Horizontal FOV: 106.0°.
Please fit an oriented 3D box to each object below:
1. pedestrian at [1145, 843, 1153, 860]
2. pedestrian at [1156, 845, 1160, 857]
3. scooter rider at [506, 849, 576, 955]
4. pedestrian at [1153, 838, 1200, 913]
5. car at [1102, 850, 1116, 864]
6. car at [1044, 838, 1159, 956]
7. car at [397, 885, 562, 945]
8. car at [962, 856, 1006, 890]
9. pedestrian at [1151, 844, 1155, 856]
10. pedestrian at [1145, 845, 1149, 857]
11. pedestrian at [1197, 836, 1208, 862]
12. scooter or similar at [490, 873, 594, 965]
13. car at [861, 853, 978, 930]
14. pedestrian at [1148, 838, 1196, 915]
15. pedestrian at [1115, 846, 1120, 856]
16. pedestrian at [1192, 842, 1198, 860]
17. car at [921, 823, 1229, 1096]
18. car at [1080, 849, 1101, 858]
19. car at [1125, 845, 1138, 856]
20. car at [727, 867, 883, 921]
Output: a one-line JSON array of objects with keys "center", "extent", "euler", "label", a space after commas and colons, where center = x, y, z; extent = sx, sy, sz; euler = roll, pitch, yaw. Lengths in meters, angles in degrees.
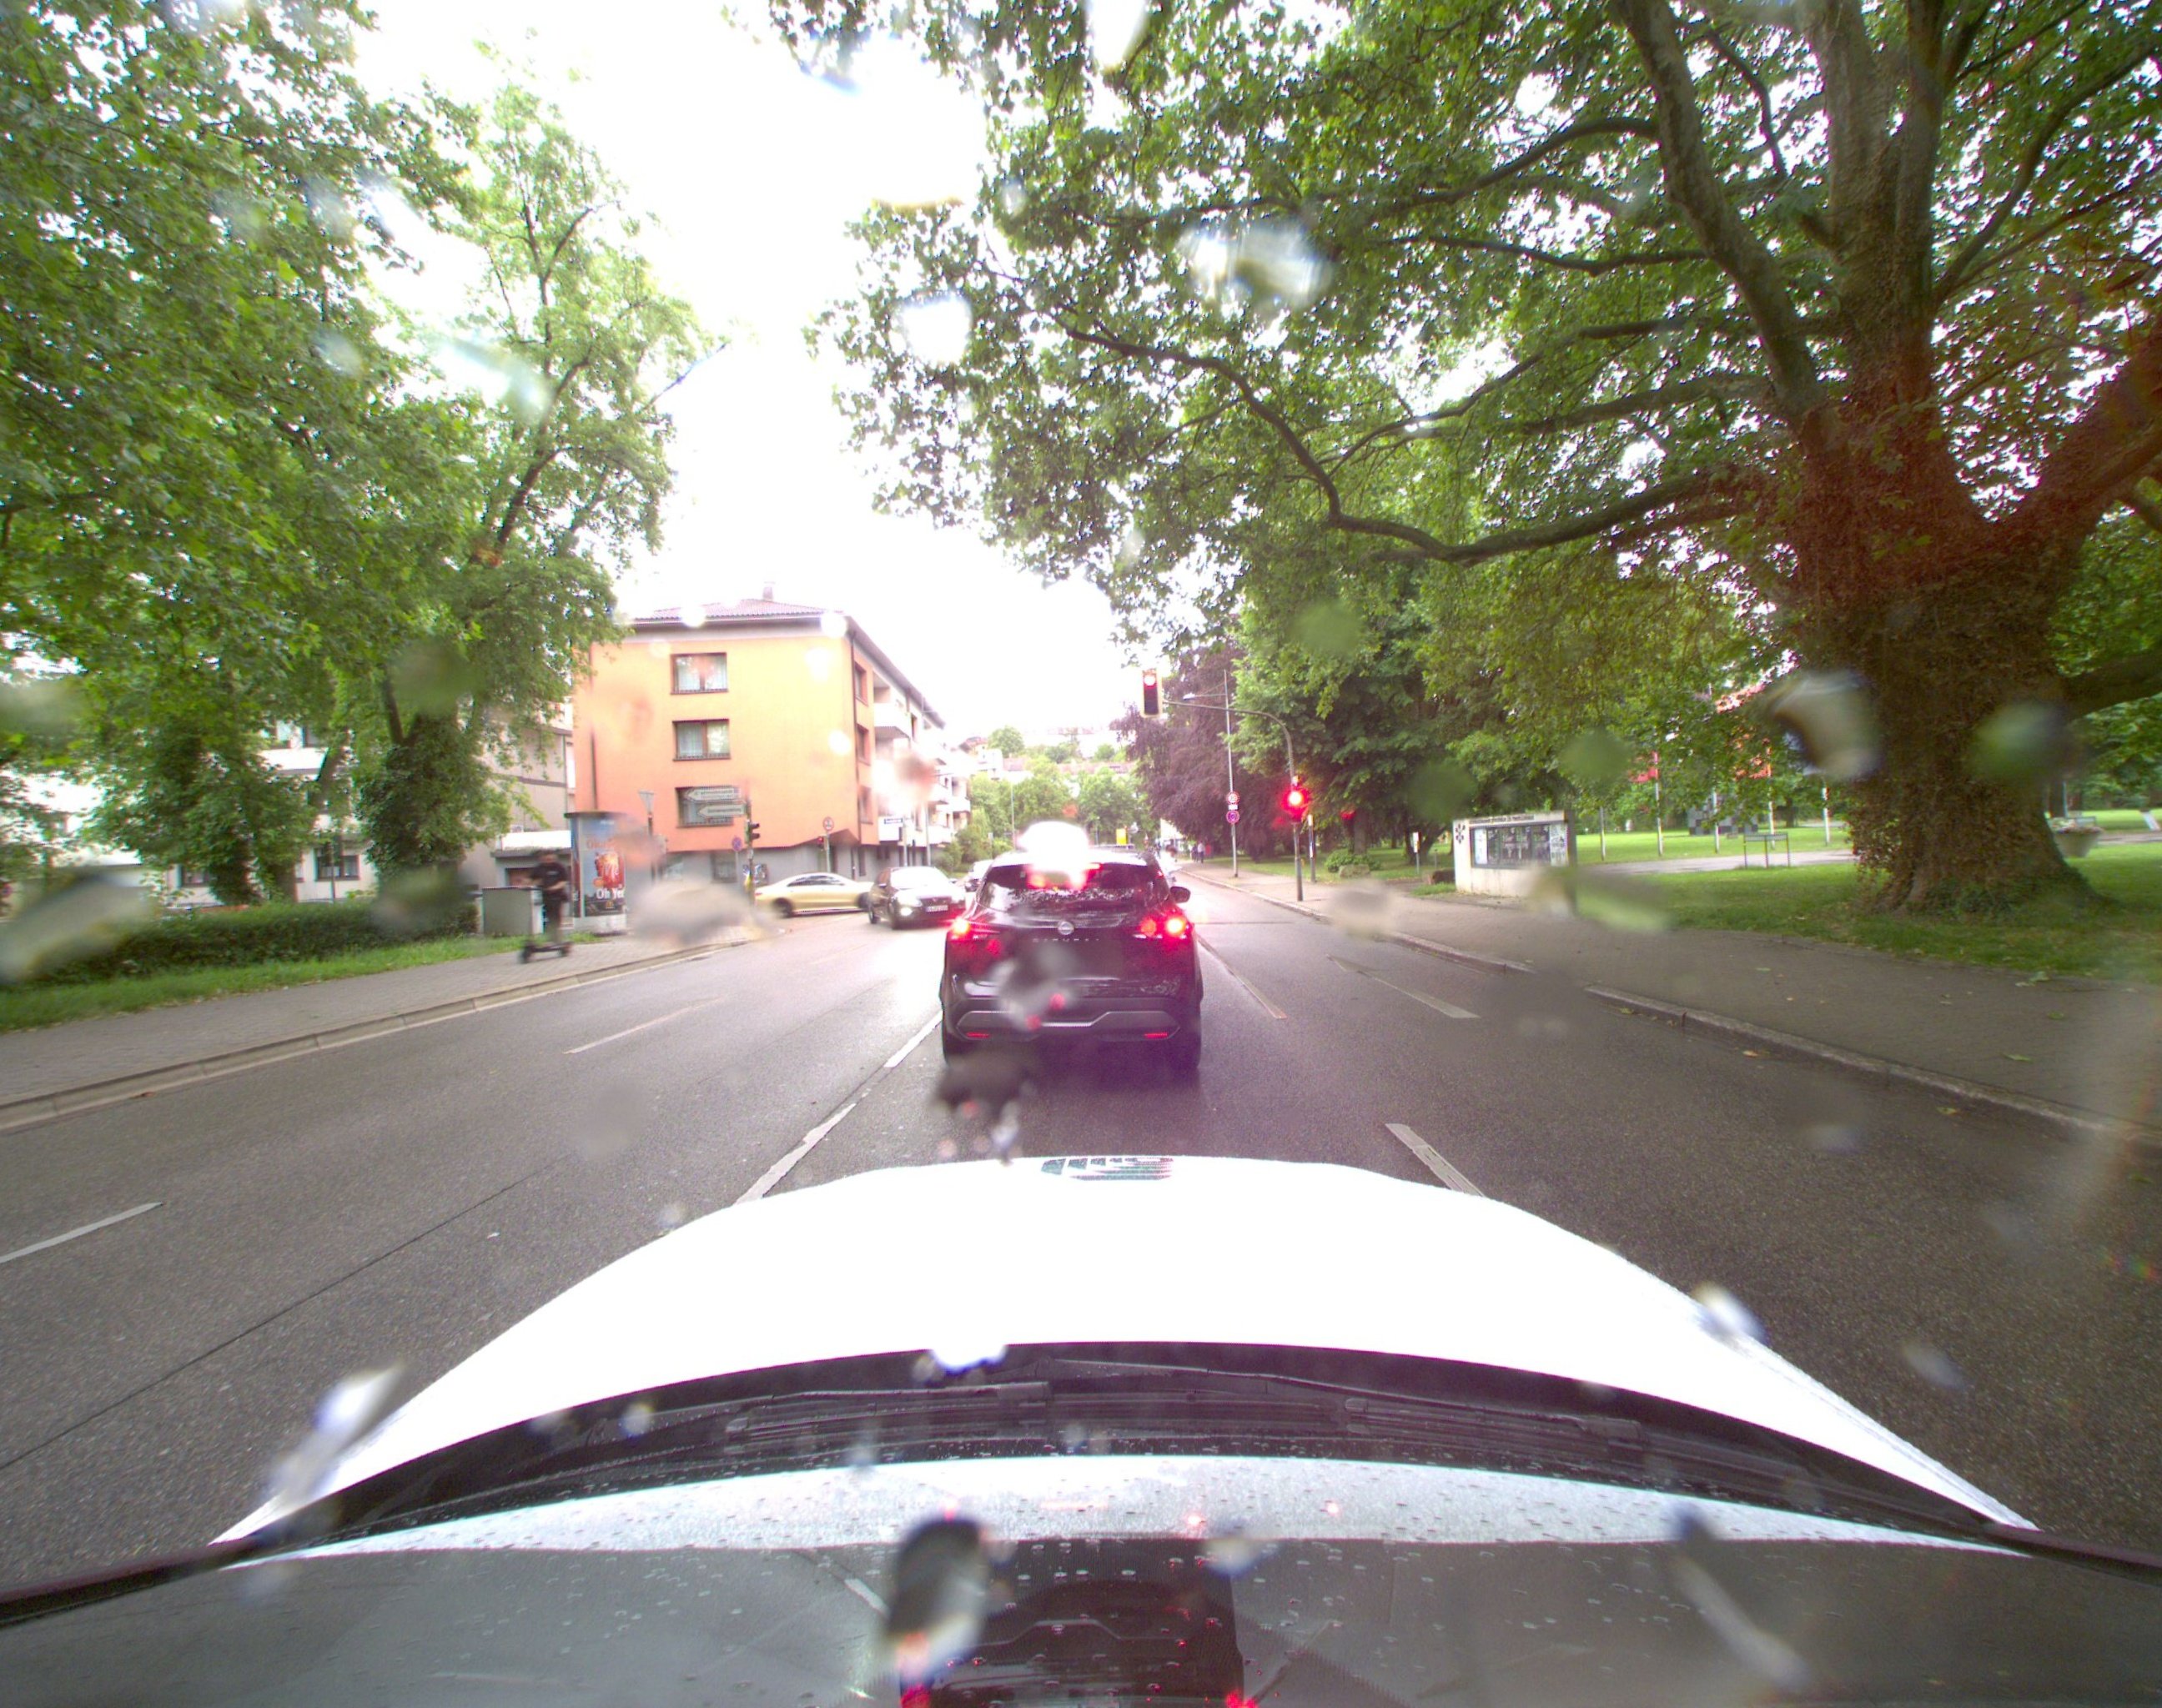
[{"center": [7.347, -0.296, 88.092], "extent": [0.510, 1.802, 0.615], "euler": [-3, 0, -20], "label": "pedestrian"}, {"center": [11.618, -0.439, 123.346], "extent": [0.507, 1.802, 0.619], "euler": [-3, 0, 0], "label": "pedestrian"}, {"center": [-9.264, 0.811, 13.994], "extent": [0.730, 1.766, 0.646], "euler": [-2, -1, 2], "label": "scooter rider"}, {"center": [2.488, 0.552, 21.299], "extent": [1.035, 1.876, 0.656], "euler": [-1, 0, -9], "label": "pedestrian"}, {"center": [3.419, 0.333, 98.765], "extent": [1.628, 1.532, 3.969], "euler": [-3, 0, 2], "label": "car"}, {"center": [0.377, 0.663, 14.568], "extent": [1.692, 1.745, 3.642], "euler": [-3, 0, 2], "label": "car"}, {"center": [-19.072, 1.890, 26.050], "extent": [3.874, 1.533, 1.786], "euler": [-4, 0, -25], "label": "car"}, {"center": [-4.854, 0.933, 41.244], "extent": [1.791, 1.533, 3.865], "euler": [-3, 0, -2], "label": "car"}, {"center": [10.872, -0.593, 123.334], "extent": [0.507, 1.802, 0.658], "euler": [-3, 0, -1], "label": "pedestrian"}, {"center": [10.082, -0.425, 124.013], "extent": [0.506, 1.802, 0.620], "euler": [-3, 0, 1], "label": "pedestrian"}, {"center": [9.699, -0.411, 65.011], "extent": [0.722, 2.013, 0.852], "euler": [-3, 0, 2], "label": "pedestrian"}, {"center": [-9.257, 1.078, 14.049], "extent": [0.811, 1.445, 1.399], "euler": [-1, 0, 1], "label": "scooter or similar"}, {"center": [-4.178, 0.884, 20.498], "extent": [1.855, 1.625, 4.102], "euler": [-3, 0, -26], "label": "car"}, {"center": [2.288, 0.549, 20.552], "extent": [1.035, 1.876, 0.656], "euler": [-1, 0, -9], "label": "pedestrian"}, {"center": [5.998, -0.503, 135.239], "extent": [0.503, 1.673, 0.663], "euler": [-3, 0, 29], "label": "pedestrian"}, {"center": [9.719, -0.231, 69.555], "extent": [0.388, 1.502, 0.559], "euler": [-3, 0, 2], "label": "pedestrian"}, {"center": [0.031, 0.658, 7.115], "extent": [1.906, 1.680, 4.002], "euler": [-1, 0, 2], "label": "car"}, {"center": [1.997, -0.097, 170.630], "extent": [3.978, 1.532, 1.625], "euler": [-3, 0, -28], "label": "car"}, {"center": [8.456, -0.565, 136.416], "extent": [1.983, 1.735, 4.007], "euler": [0, 0, 7], "label": "car"}, {"center": [-9.095, 1.303, 27.240], "extent": [4.637, 1.403, 1.825], "euler": [-4, 0, -11], "label": "car"}]
